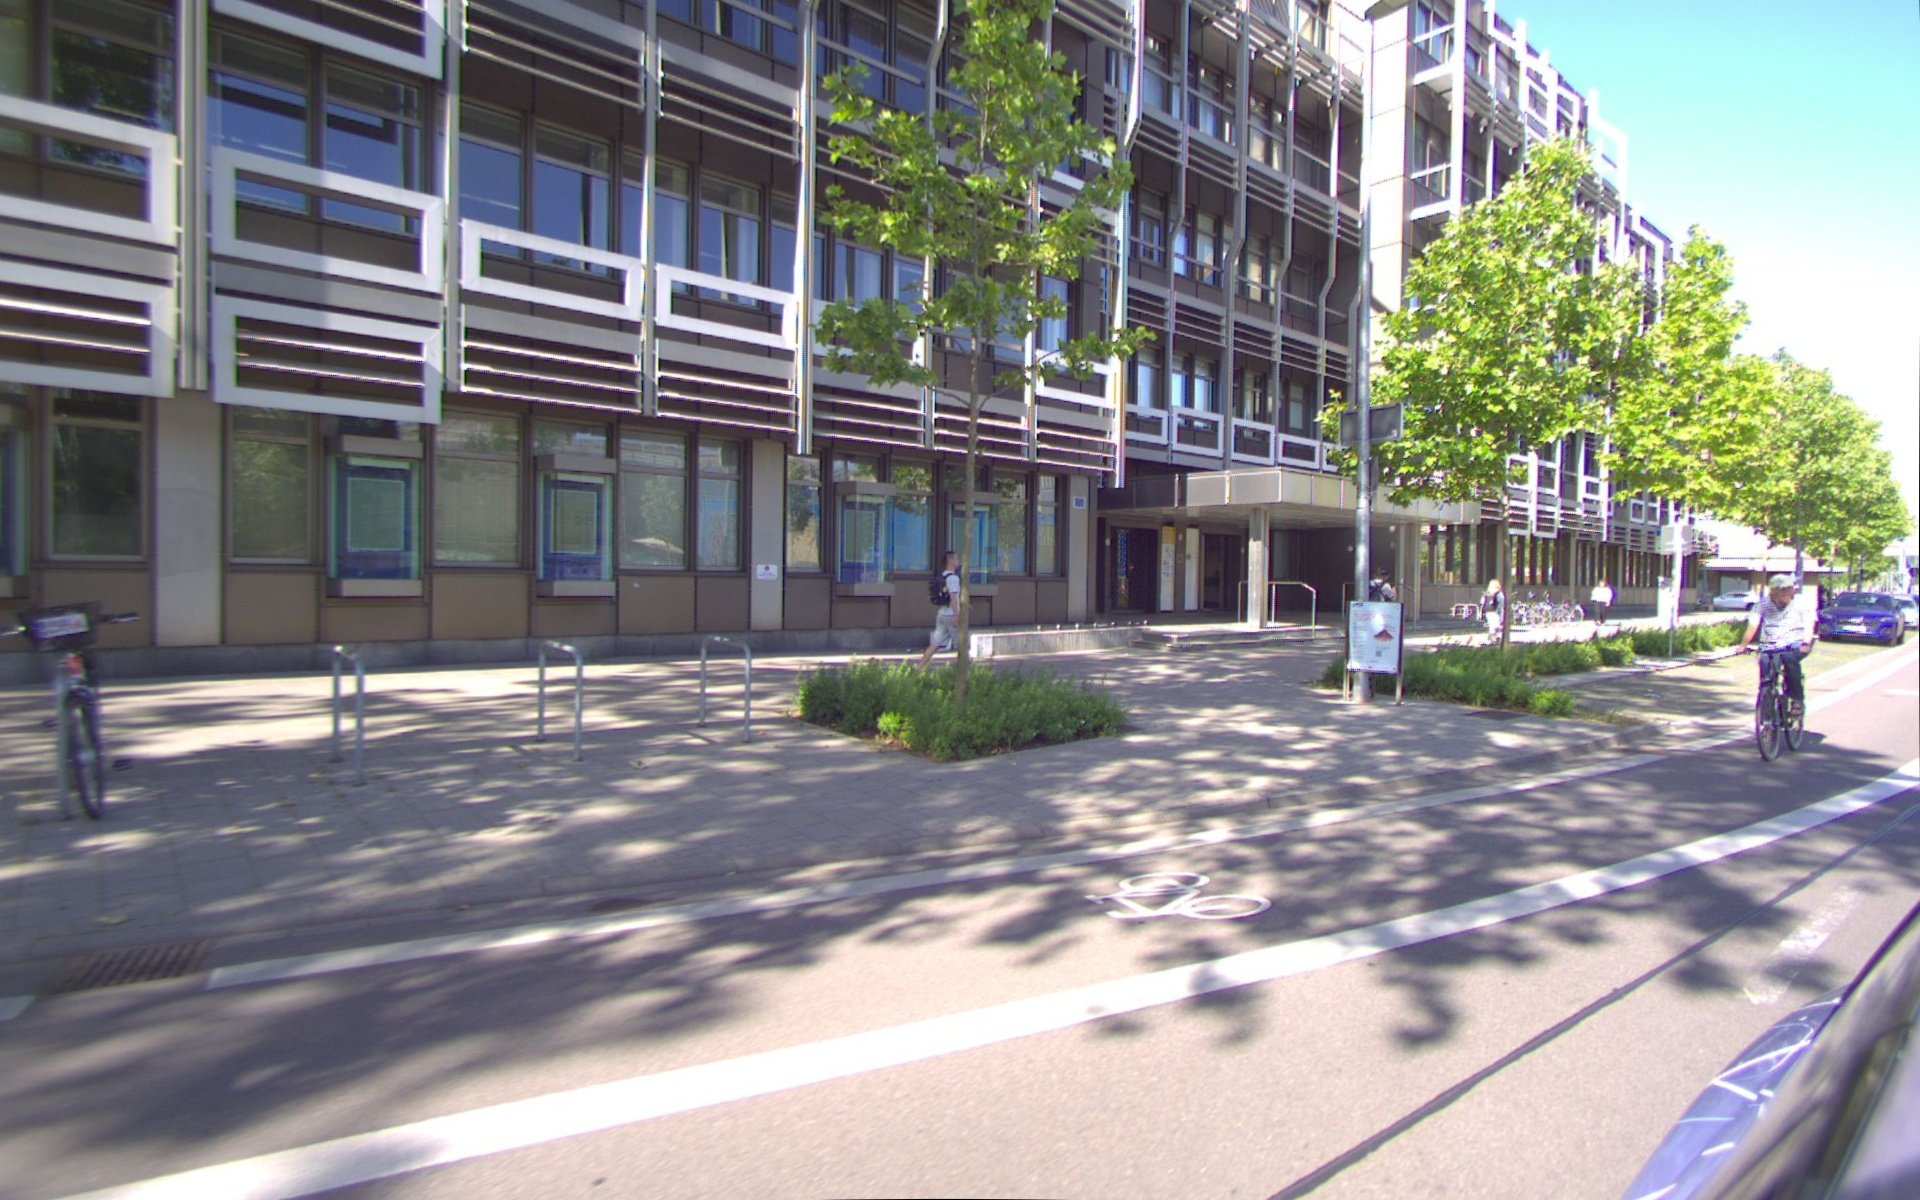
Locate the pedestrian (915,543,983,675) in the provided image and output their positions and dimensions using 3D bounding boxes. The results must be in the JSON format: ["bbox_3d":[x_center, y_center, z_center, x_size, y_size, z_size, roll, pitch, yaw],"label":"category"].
[{"bbox_3d":[-0.142,0.112,13.688,0.760,1.722,0.512,0,1,-41],"label":"pedestrian"}]

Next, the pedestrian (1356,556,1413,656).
[{"bbox_3d":[7.637,0.090,18.222,0.789,1.749,0.649,0,1,-41],"label":"pedestrian"}]

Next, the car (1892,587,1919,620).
[{"bbox_3d":[51.089,0.170,54.139,1.748,1.679,4.400,2,2,43],"label":"car"}]

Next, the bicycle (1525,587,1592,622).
[{"bbox_3d":[19.894,0.128,33.680,0.419,1.023,1.863,0,4,-38],"label":"bicycle"}]

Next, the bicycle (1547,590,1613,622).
[{"bbox_3d":[21.029,0.177,34.351,0.419,0.950,1.863,0,4,-38],"label":"bicycle"}]

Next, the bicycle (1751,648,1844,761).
[{"bbox_3d":[8.315,0.979,10.013,2.161,0.917,0.498,0,0,-45],"label":"bicycle"}]

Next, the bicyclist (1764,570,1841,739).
[{"bbox_3d":[8.347,0.513,10.030,0.528,1.621,0.513,0,1,-44],"label":"bicyclist"}]

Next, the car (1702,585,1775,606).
[{"bbox_3d":[61.455,-0.385,79.967,4.379,1.563,1.831,2,2,34],"label":"car"}]

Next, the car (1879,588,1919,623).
[{"bbox_3d":[42.616,0.229,45.545,1.619,1.483,4.088,4,3,45],"label":"car"}]

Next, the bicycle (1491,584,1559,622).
[{"bbox_3d":[18.431,0.097,33.045,0.419,1.111,1.863,0,4,-38],"label":"bicycle"}]

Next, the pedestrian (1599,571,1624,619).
[{"bbox_3d":[22.965,-0.170,35.676,0.662,1.642,0.512,0,3,-41],"label":"pedestrian"}]

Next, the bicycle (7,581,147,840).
[{"bbox_3d":[-5.441,0.568,6.225,0.569,1.251,1.940,0,4,-42],"label":"bicycle"}]

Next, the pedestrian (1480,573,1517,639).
[{"bbox_3d":[12.421,0.122,23.339,0.723,1.493,0.512,0,1,-41],"label":"pedestrian"}]

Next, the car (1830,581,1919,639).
[{"bbox_3d":[29.975,0.271,33.016,4.767,1.677,1.852,0,3,-43],"label":"car"}]
